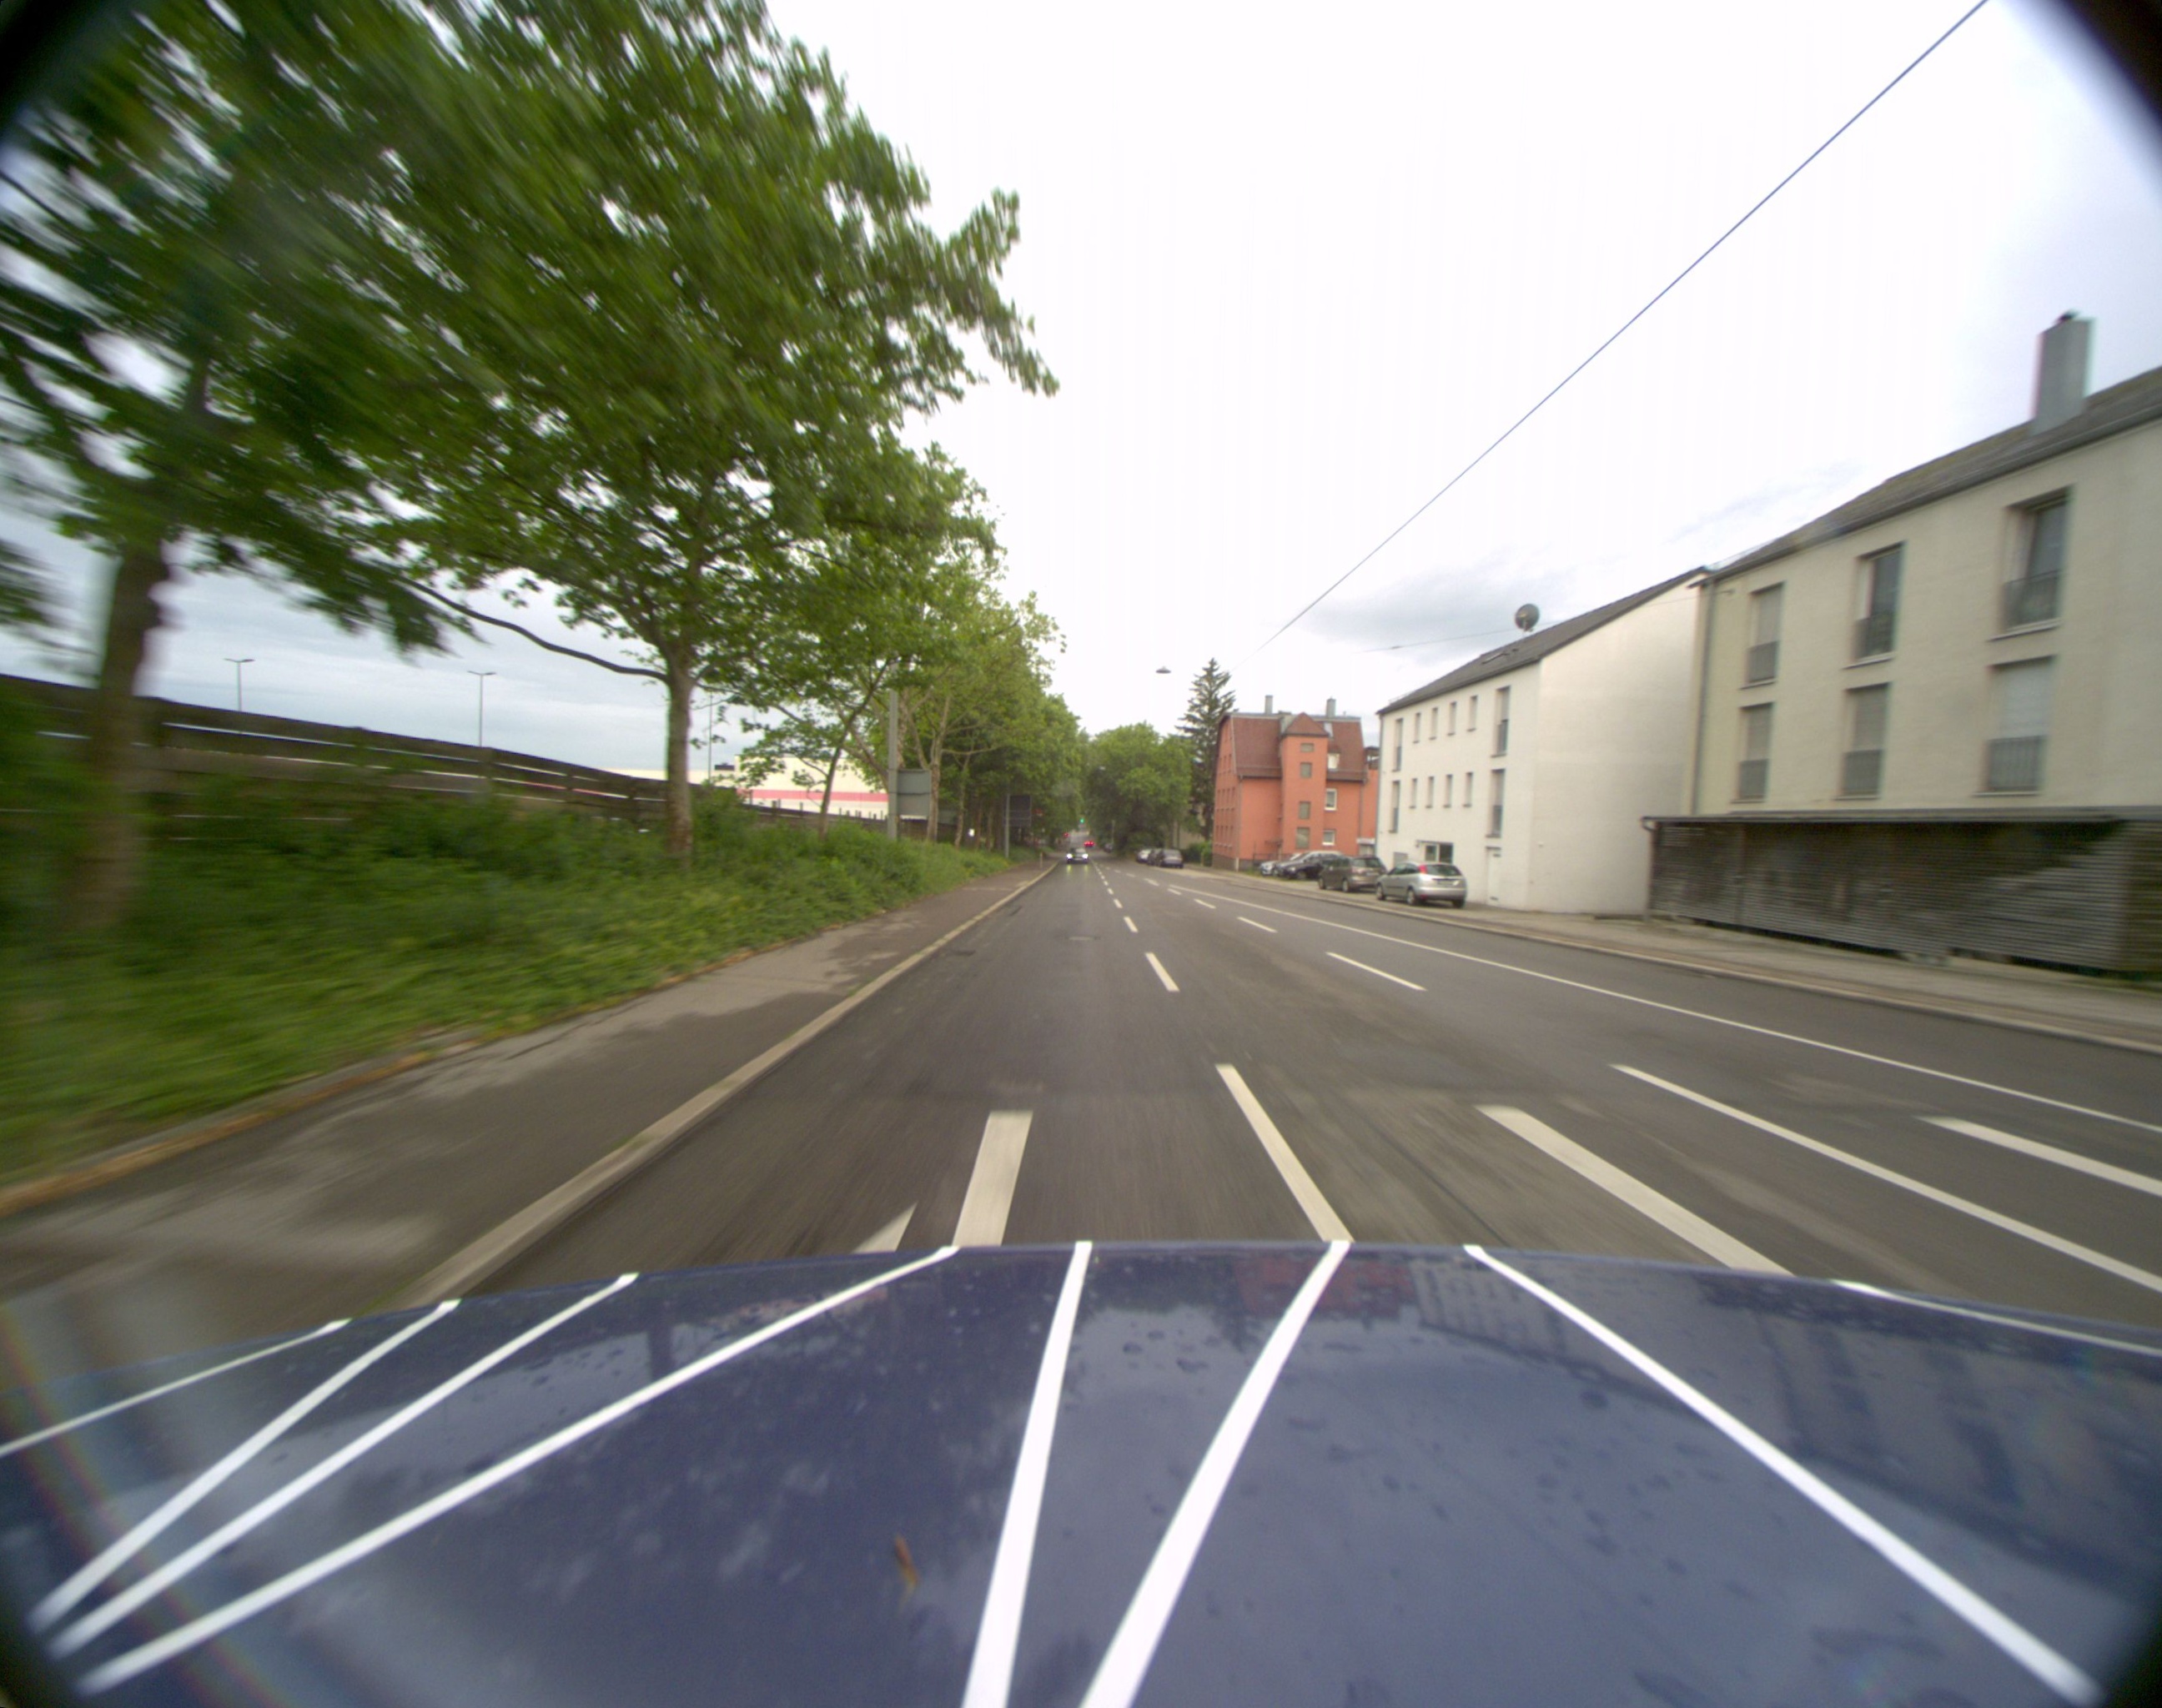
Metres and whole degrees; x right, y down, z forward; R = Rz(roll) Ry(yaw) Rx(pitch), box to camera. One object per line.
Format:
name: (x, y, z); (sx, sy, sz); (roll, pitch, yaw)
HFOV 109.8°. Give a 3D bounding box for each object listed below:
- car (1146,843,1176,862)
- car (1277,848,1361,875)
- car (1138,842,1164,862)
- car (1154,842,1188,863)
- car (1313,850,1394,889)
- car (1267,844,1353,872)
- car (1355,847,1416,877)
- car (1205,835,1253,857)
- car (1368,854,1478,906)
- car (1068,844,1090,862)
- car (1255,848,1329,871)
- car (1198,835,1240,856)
car: (6.575, -0.147, 62.533); (1.817, 1.443, 4.197); (2, 1, -2)
car: (13.380, 0.419, 42.871); (4.136, 1.456, 1.895); (0, 1, 1)
car: (6.295, -0.206, 68.906); (1.816, 1.537, 4.197); (5, 1, -1)
car: (6.769, -0.142, 57.717); (1.789, 1.402, 4.196); (4, 1, -3)
car: (11.637, 0.607, 32.712); (1.750, 1.543, 4.081); (0, 1, -4)
car: (13.694, 0.224, 45.693); (4.542, 1.599, 2.152); (0, 1, 2)
car: (17.532, 0.431, 43.950); (1.786, 1.553, 3.999); (3, 1, 0)
car: (13.853, -0.772, 71.204); (3.998, 2.002, 1.999); (1, 2, -2)
car: (11.451, 0.815, 25.779); (1.749, 1.499, 4.176); (2, 1, 0)
car: (-0.159, -0.092, 67.053); (1.842, 1.403, 3.999); (2, 1, 0)
car: (13.308, 0.314, 48.197); (4.172, 1.425, 2.000); (0, 1, 2)
car: (13.578, -0.851, 75.017); (3.994, 2.002, 2.001); (1, 2, 7)
